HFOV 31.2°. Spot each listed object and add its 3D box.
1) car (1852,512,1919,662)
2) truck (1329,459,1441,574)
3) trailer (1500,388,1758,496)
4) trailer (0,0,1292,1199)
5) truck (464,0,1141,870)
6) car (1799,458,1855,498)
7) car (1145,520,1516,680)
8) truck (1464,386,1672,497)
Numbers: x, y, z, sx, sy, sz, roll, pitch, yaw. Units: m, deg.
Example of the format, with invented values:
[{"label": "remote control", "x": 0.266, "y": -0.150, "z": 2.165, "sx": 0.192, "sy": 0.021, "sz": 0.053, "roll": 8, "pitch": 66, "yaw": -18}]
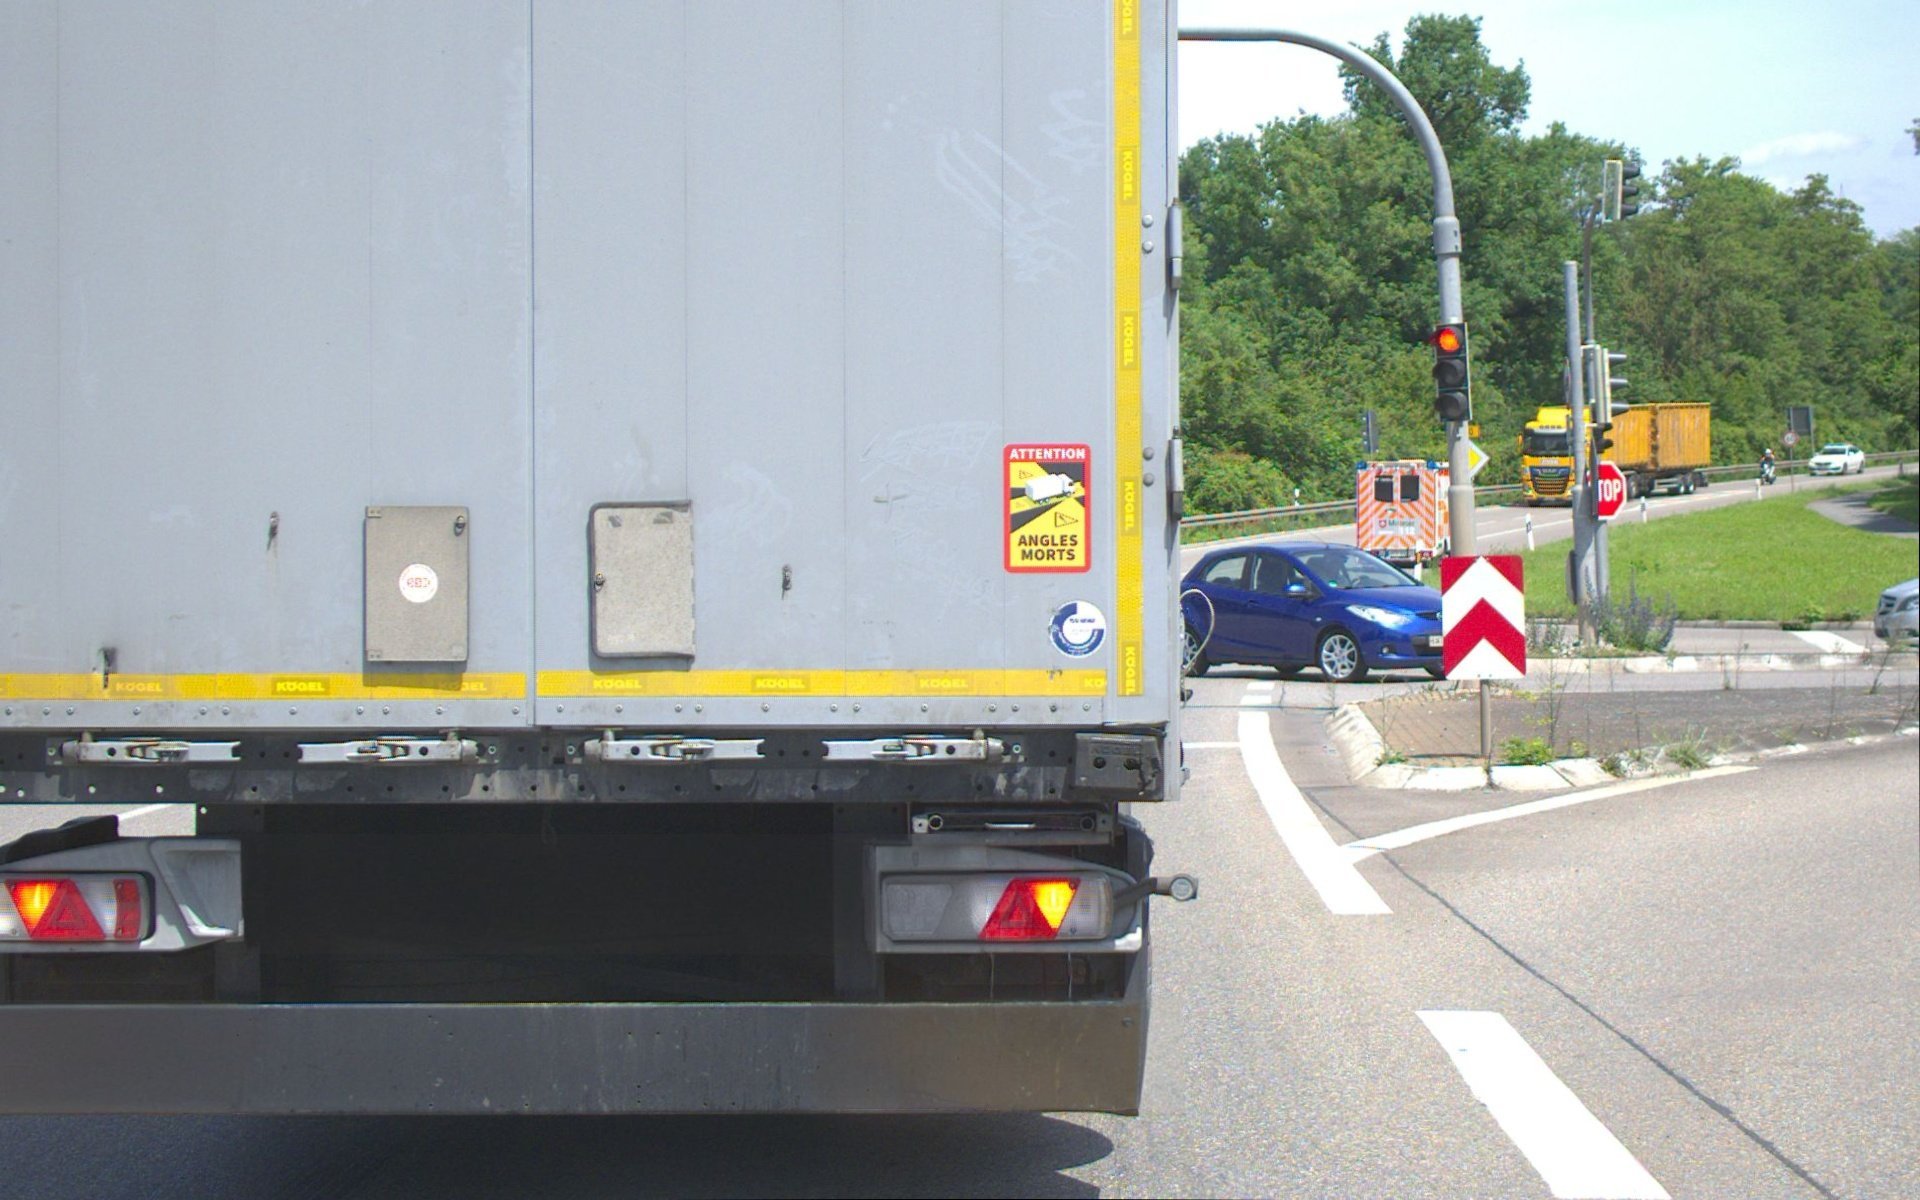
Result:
[{"label": "car", "x": 12.841, "y": -0.126, "z": 40.133, "sx": 4.428, "sy": 1.712, "sz": 1.999, "roll": 0, "pitch": -1, "yaw": 5}, {"label": "truck", "x": 11.054, "y": -2.104, "z": 89.085, "sx": 2.495, "sy": 2.718, "sz": 6.027, "roll": 0, "pitch": -1, "yaw": 11}, {"label": "trailer", "x": 29.641, "y": -6.858, "z": 150.782, "sx": 5.019, "sy": 4.347, "sz": 20.806, "roll": 0, "pitch": 2, "yaw": 29}, {"label": "trailer", "x": -0.783, "y": -0.758, "z": 12.634, "sx": 3.052, "sy": 4.020, "sz": 12.558, "roll": 0, "pitch": 1, "yaw": 1}, {"label": "truck", "x": -0.639, "y": -0.847, "z": 18.890, "sx": 3.038, "sy": 4.020, "sz": 6.629, "roll": 0, "pitch": 1, "yaw": 1}, {"label": "car", "x": 43.963, "y": -6.175, "z": 174.250, "sx": 1.996, "sy": 2.007, "sz": 3.995, "roll": 0, "pitch": 2, "yaw": 25}, {"label": "car", "x": 3.921, "y": 0.032, "z": 36.882, "sx": 1.875, "sy": 1.607, "sz": 3.857, "roll": 1, "pitch": -1, "yaw": -35}, {"label": "truck", "x": 25.395, "y": -6.546, "z": 142.945, "sx": 5.019, "sy": 4.347, "sz": 11.747, "roll": 0, "pitch": 2, "yaw": 29}]
